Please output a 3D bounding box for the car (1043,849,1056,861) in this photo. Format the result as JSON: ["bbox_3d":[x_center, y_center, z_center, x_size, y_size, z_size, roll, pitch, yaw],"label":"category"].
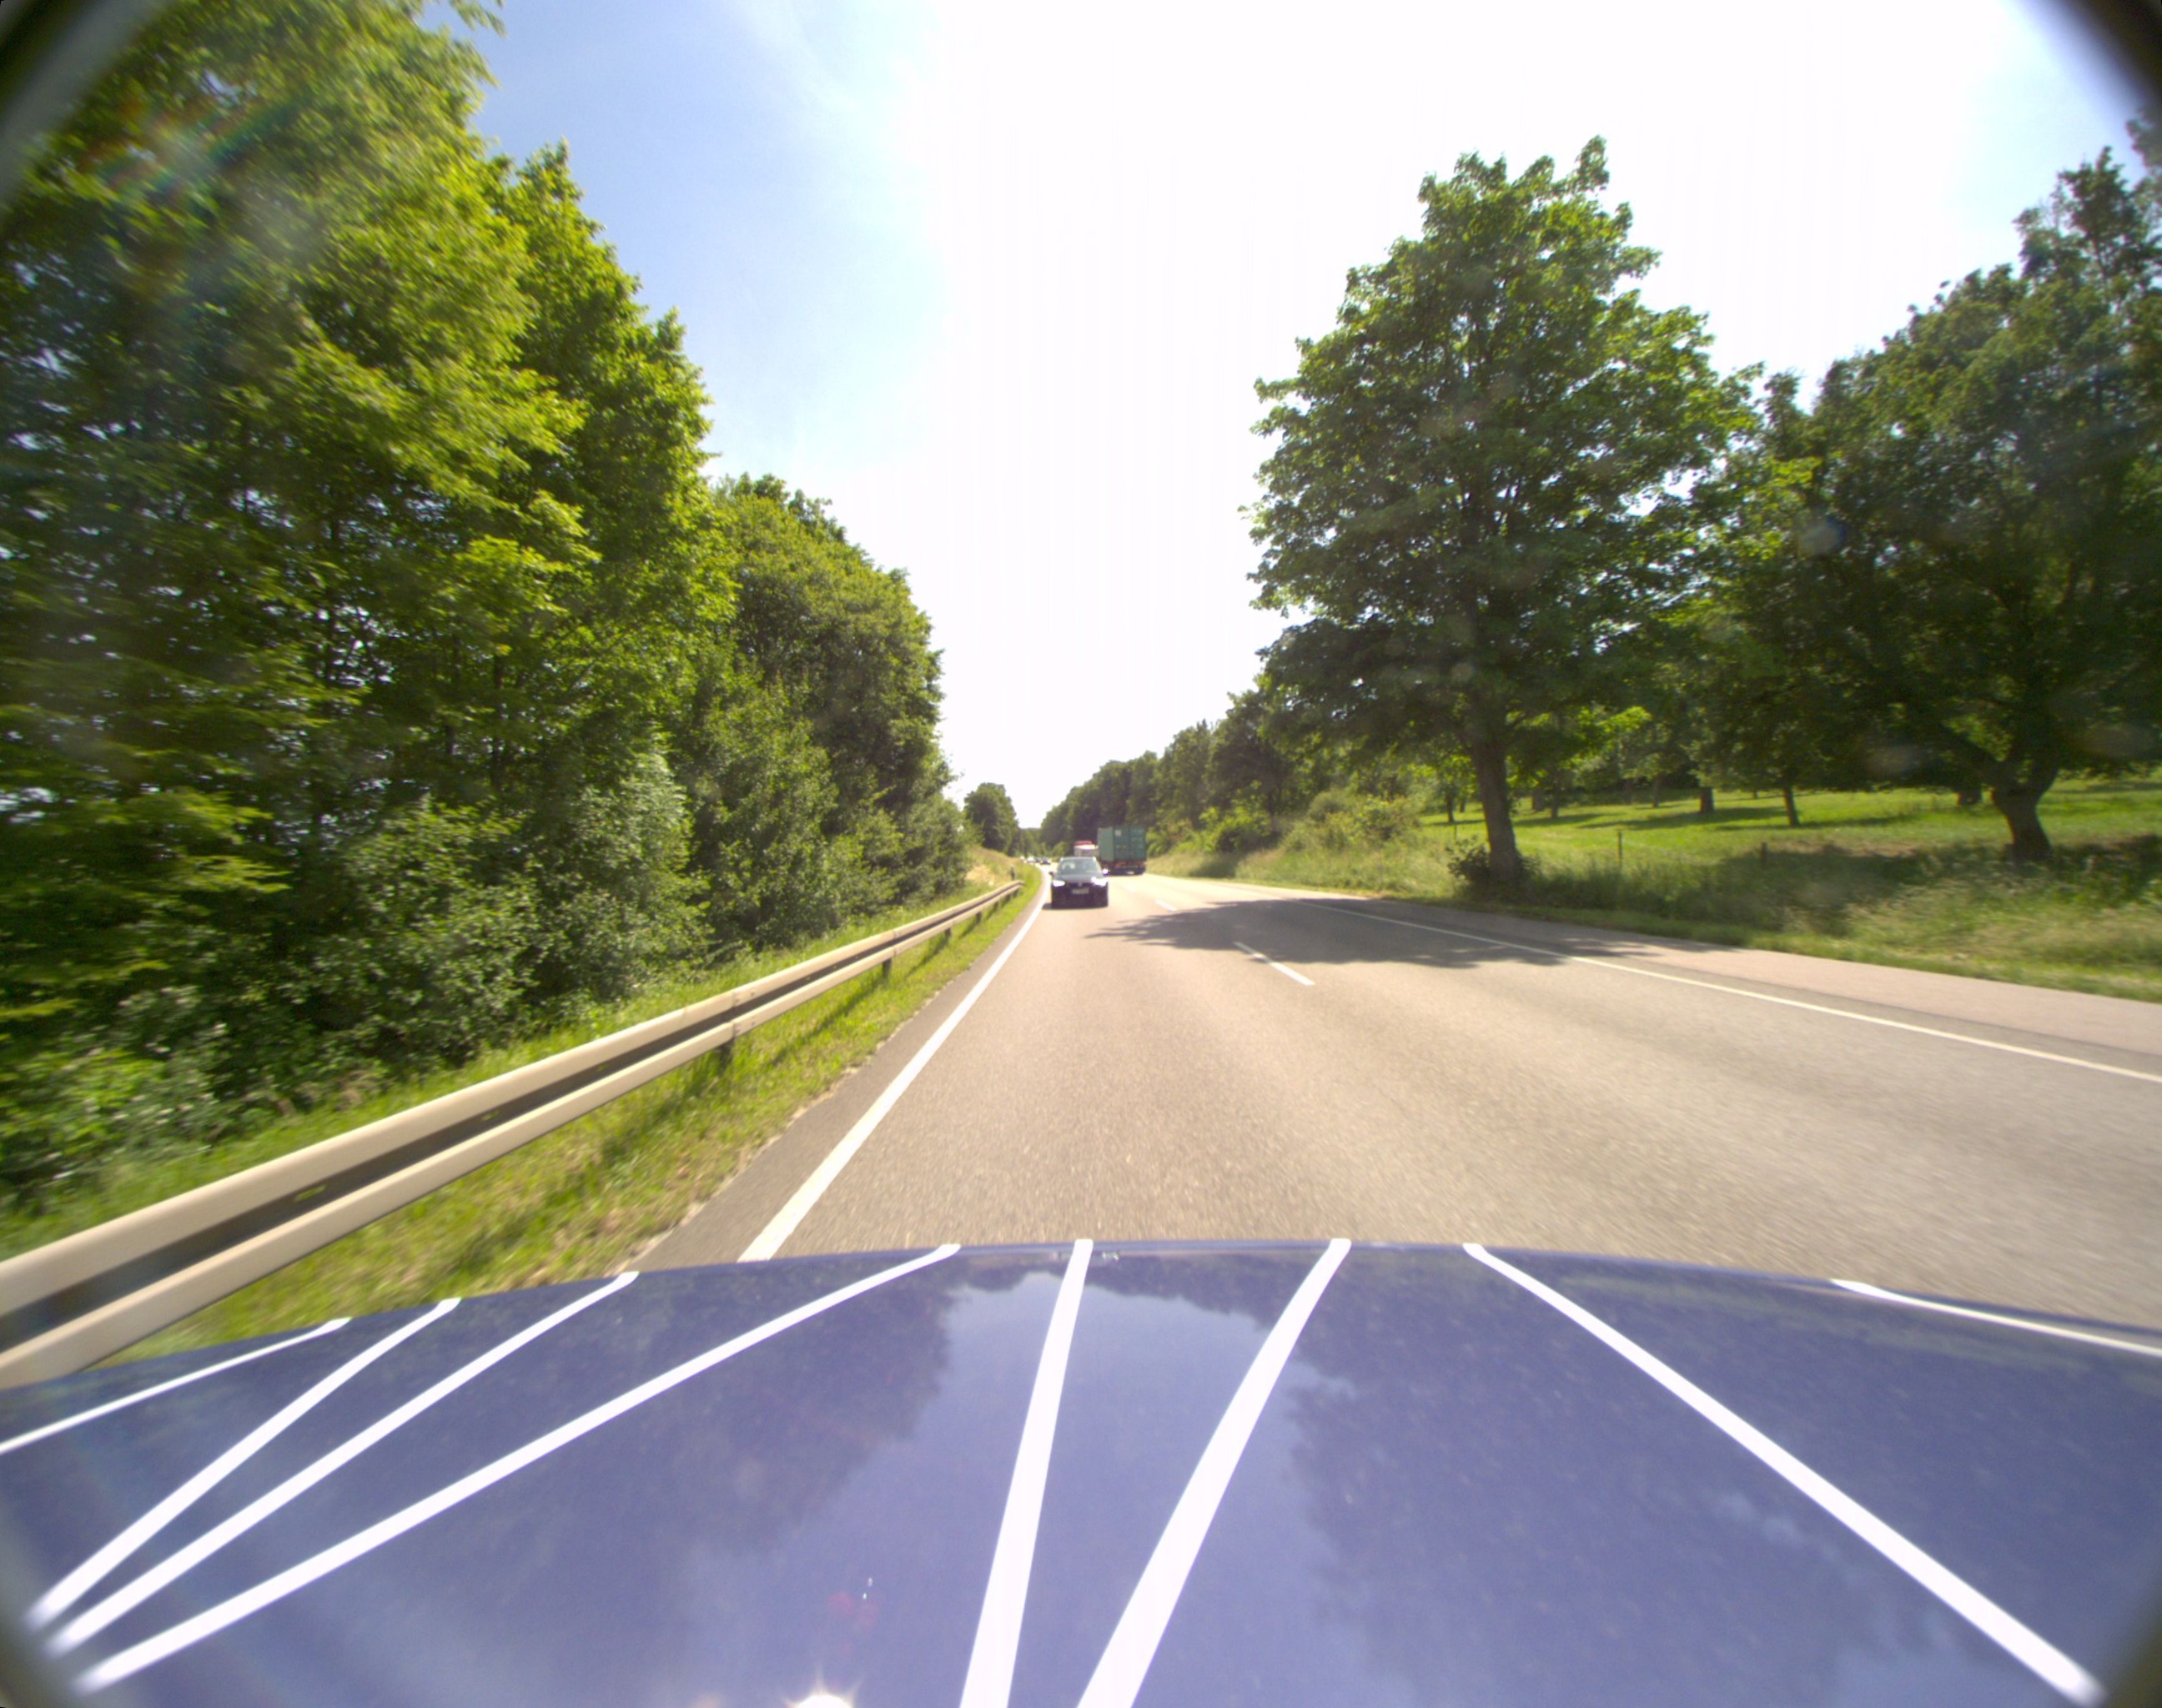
[{"bbox_3d":[-5.519,0.184,133.418,1.999,2.002,3.998,-3,0,-4],"label":"car"}]

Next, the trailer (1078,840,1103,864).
[{"bbox_3d":[1.099,-0.271,94.571,2.651,2.856,7.074,-1,1,-3],"label":"trailer"}]

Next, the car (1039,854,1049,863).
[{"bbox_3d":[-8.218,0.969,168.550,2.000,2.002,3.997,-3,0,-7],"label":"car"}]

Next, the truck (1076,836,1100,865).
[{"bbox_3d":[0.865,-0.454,99.560,2.538,3.539,7.758,-1,1,-3],"label":"truck"}]

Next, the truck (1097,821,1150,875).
[{"bbox_3d":[3.316,-0.511,64.027,2.567,3.917,16.153,0,1,-4],"label":"truck"}]

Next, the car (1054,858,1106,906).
[{"bbox_3d":[-0.082,0.906,26.119,1.662,1.531,3.486,0,0,-2],"label":"car"}]
